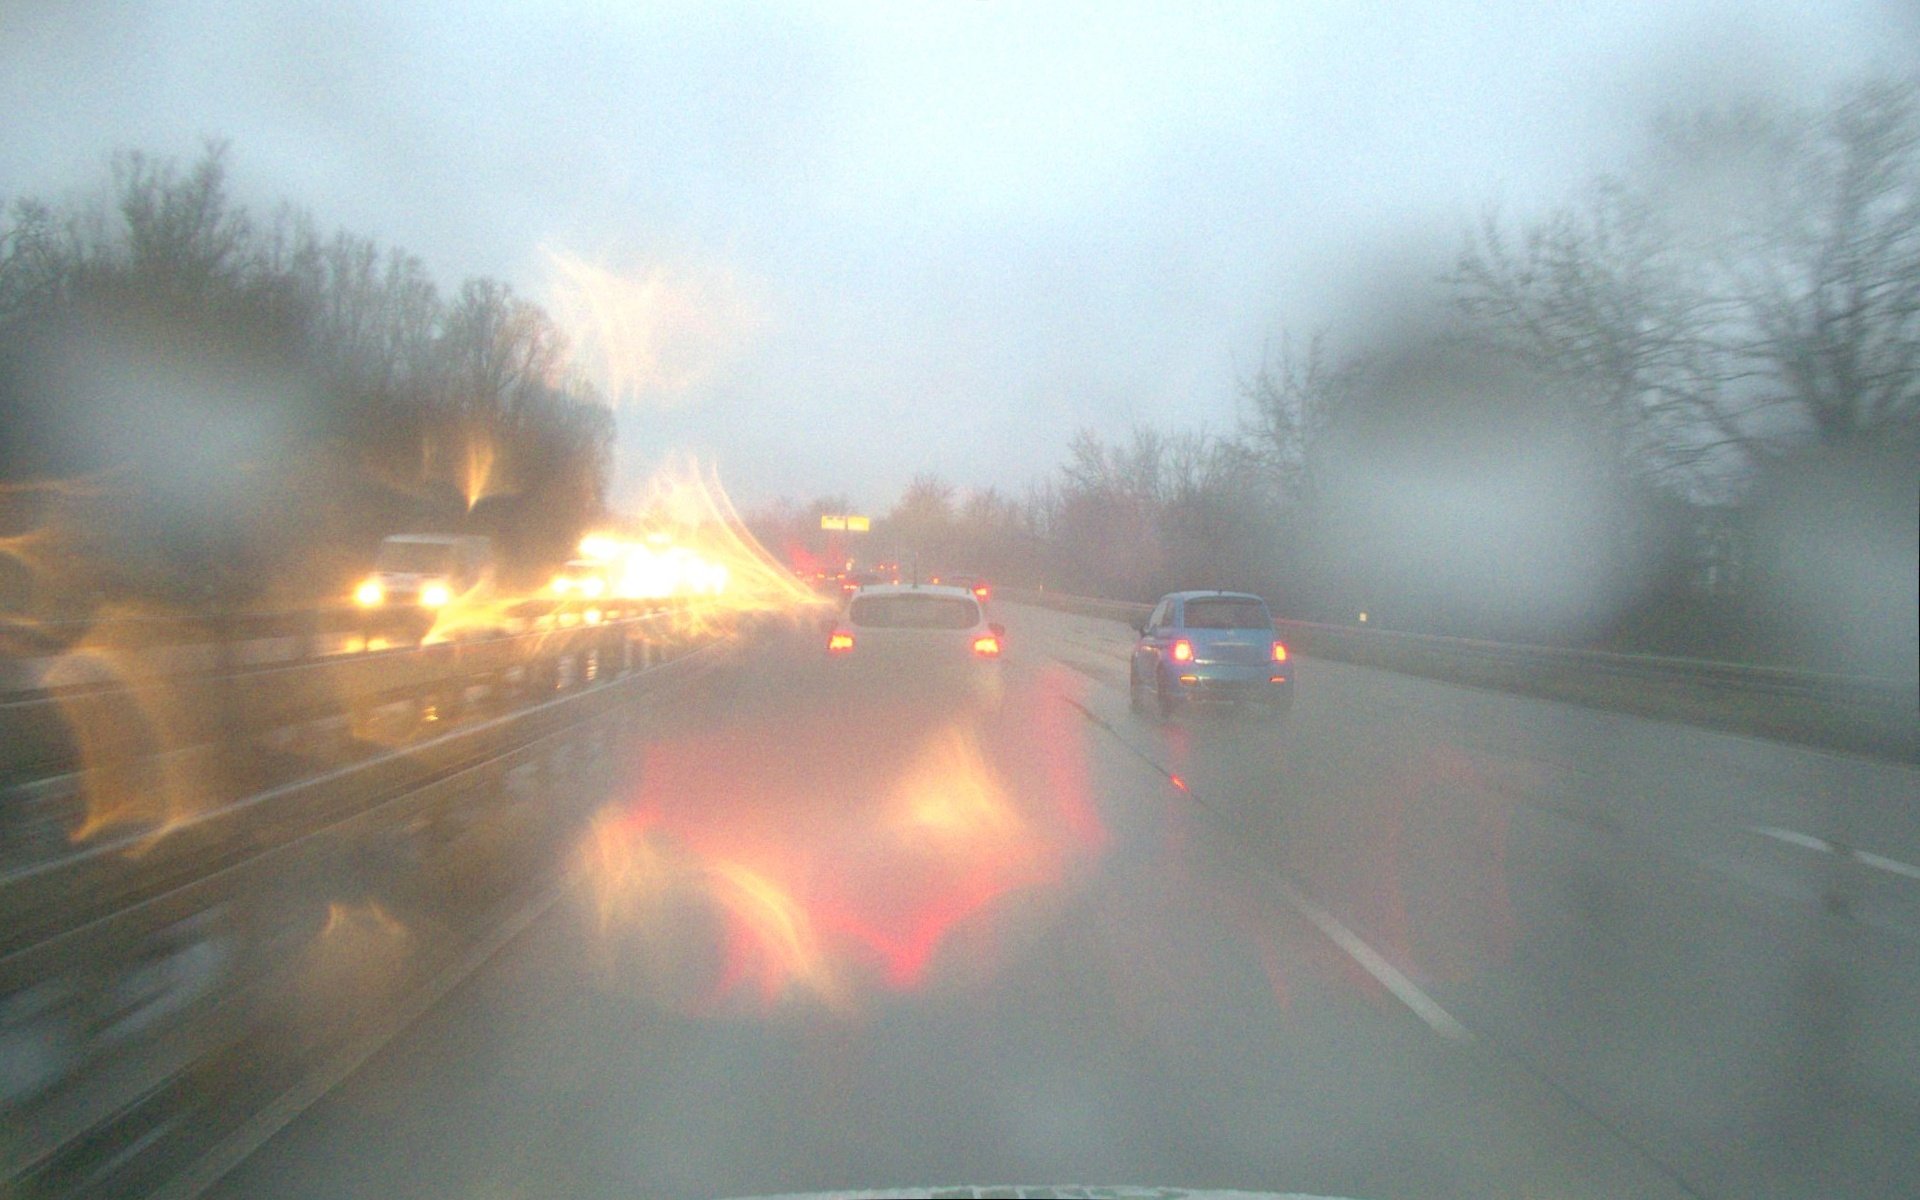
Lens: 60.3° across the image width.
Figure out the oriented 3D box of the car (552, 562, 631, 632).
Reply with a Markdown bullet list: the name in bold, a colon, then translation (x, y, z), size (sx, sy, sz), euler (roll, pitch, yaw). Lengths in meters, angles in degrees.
- **car**: translation (-14.574, -0.139, 65.730), size (2.103, 2.510, 5.138), euler (5, 0, -4)

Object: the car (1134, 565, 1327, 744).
- **car**: translation (3.425, 0.684, 21.619), size (1.893, 2.055, 3.773), euler (2, -1, 1)

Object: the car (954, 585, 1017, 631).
- **car**: translation (1.014, 0.338, 67.238), size (1.897, 1.573, 3.765), euler (-3, -3, -9)

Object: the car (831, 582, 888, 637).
- **car**: translation (-4.032, 0.393, 65.875), size (1.956, 2.049, 3.994), euler (2, -1, -7)

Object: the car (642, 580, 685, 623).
- **car**: translation (-18.137, 0.066, 101.339), size (2.104, 2.511, 5.135), euler (2, 1, -6)

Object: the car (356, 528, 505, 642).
- **car**: translation (-12.722, -0.304, 40.096), size (2.102, 2.511, 5.138), euler (2, -1, -3)

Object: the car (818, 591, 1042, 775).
- **car**: translation (-0.301, 0.788, 17.112), size (1.984, 1.602, 3.999), euler (2, -1, -1)
